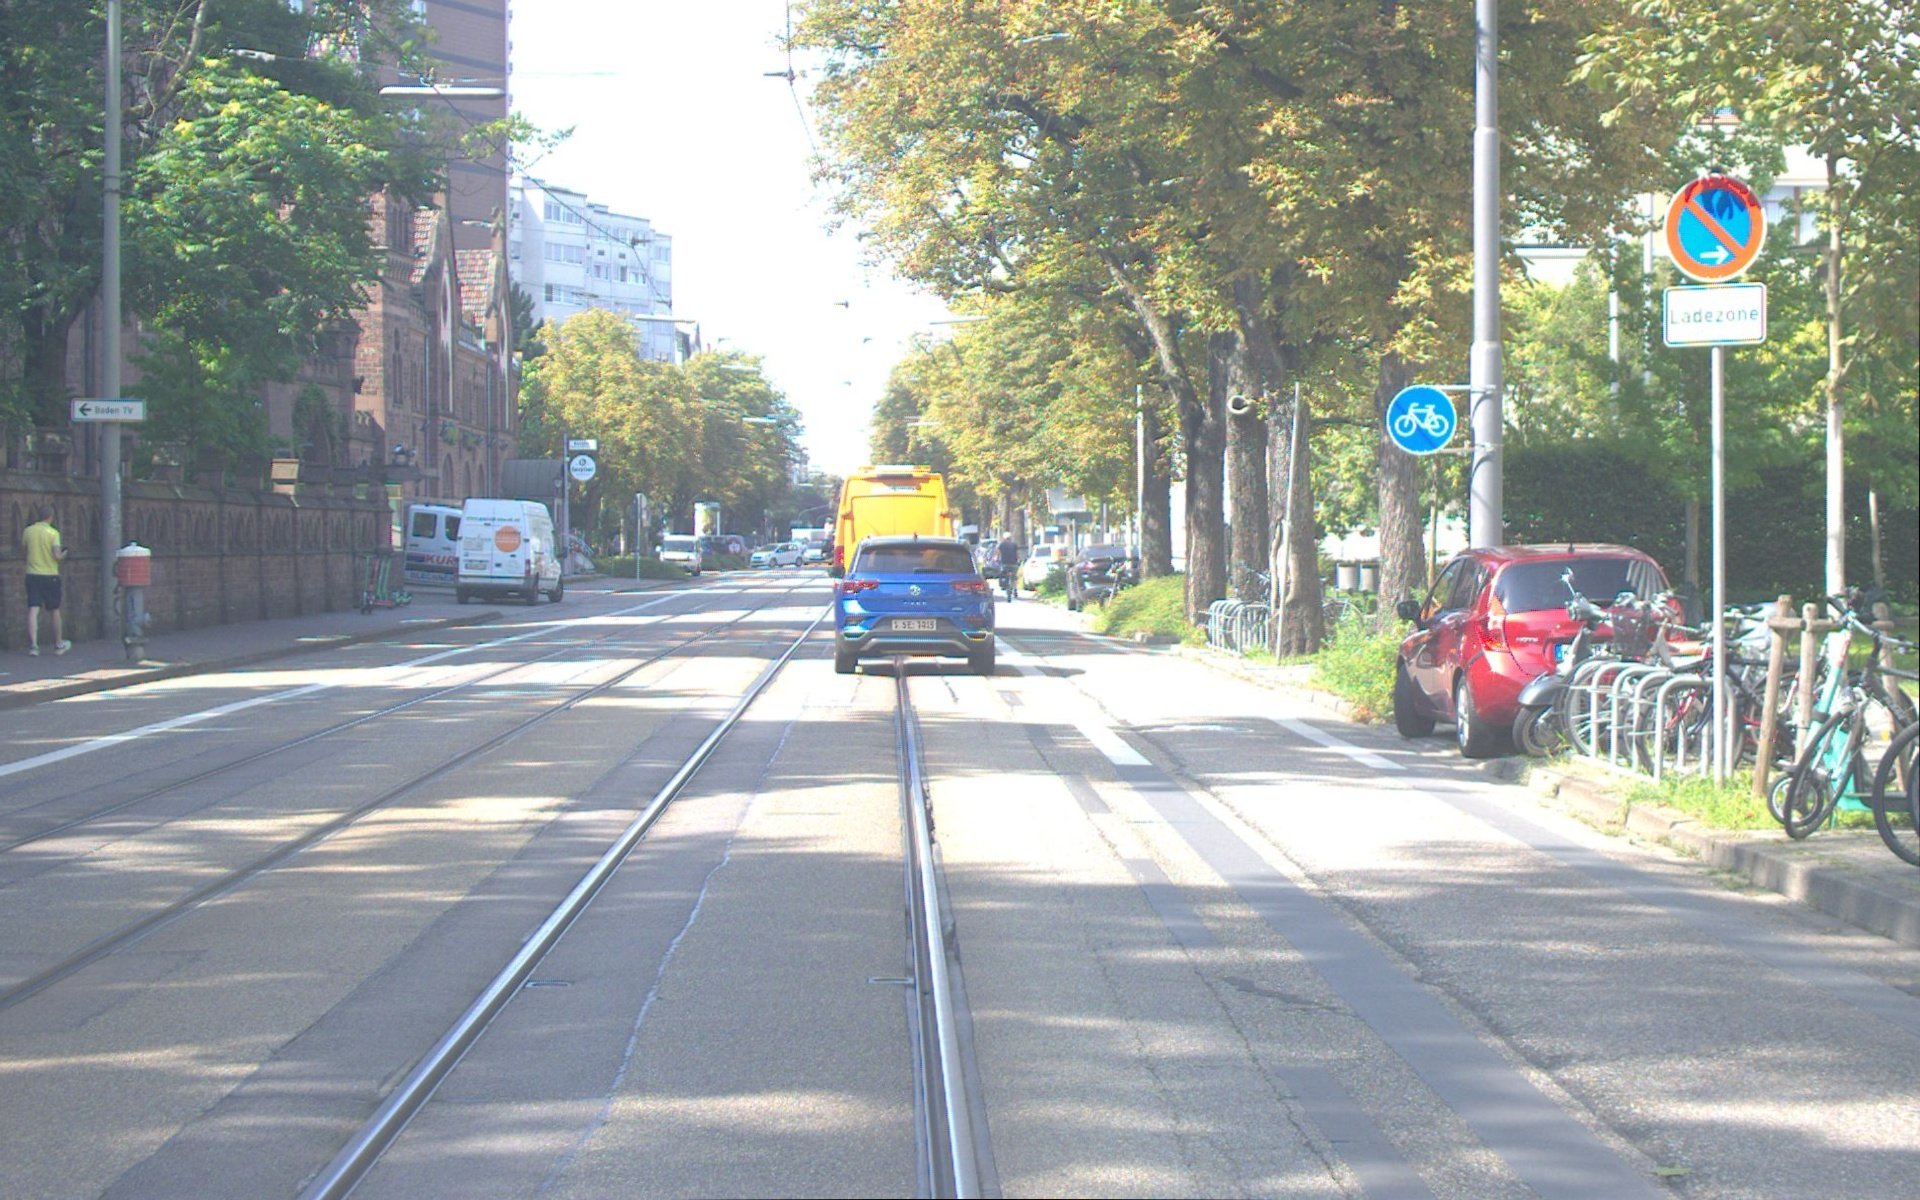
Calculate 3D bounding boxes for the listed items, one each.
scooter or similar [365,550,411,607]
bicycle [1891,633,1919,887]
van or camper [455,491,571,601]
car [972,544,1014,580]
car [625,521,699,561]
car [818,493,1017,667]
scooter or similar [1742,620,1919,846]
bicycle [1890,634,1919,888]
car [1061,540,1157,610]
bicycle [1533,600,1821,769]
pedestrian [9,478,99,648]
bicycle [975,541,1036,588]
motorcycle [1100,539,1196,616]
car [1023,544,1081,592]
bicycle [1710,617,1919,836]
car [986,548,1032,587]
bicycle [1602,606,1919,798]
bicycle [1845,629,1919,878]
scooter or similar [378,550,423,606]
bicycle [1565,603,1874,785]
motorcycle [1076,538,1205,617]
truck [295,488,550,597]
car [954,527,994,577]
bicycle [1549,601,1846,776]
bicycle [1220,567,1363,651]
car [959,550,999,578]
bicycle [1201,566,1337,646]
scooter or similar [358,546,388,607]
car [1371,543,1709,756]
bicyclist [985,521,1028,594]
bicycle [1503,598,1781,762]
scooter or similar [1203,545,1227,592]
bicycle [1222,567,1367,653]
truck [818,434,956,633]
[{"bbox_3d":[-11.850,-0.442,71.269,0.340,1.174,1.176,1,1,24],"label":"scooter or similar"},{"bbox_3d":[4.958,0.673,14.743,1.771,1.068,0.541,-1,1,-2],"label":"bicycle"},{"bbox_3d":[-11.277,-1.369,87.134,2.113,2.666,5.955,0,1,0],"label":"van or camper"},{"bbox_3d":[1.543,-1.792,162.017,1.740,1.662,4.362,0,1,-2],"label":"car"},{"bbox_3d":[-13.560,-2.693,156.156,1.747,1.790,4.000,0,1,-32],"label":"car"},{"bbox_3d":[-0.504,-0.254,39.963,2.135,1.852,5.568,-1,1,-1],"label":"car"},{"bbox_3d":[4.812,0.639,16.952,1.771,1.068,0.541,-1,1,-2],"label":"scooter or similar"},{"bbox_3d":[4.948,0.673,14.721,1.771,1.068,0.541,-1,1,-2],"label":"bicycle"},{"bbox_3d":[3.345,-0.572,78.027,1.755,1.510,4.610,-1,1,-2],"label":"car"},{"bbox_3d":[4.728,0.551,22.710,1.771,1.068,0.541,-1,1,-2],"label":"bicycle"},{"bbox_3d":[-10.879,-0.447,41.309,0.864,2.007,0.983,0,1,-3],"label":"pedestrian"},{"bbox_3d":[1.124,-0.897,86.198,1.401,1.130,4.000,0,1,-1],"label":"bicycle"},{"bbox_3d":[3.762,-0.469,69.066,0.850,1.510,2.456,0,1,-26],"label":"motorcycle"},{"bbox_3d":[2.896,-1.022,108.905,1.659,1.476,4.217,-1,1,-1],"label":"car"},{"bbox_3d":[4.780,0.629,17.540,1.771,1.068,0.541,-1,1,-2],"label":"bicycle"},{"bbox_3d":[1.961,-1.322,138.829,1.743,1.550,4.217,-1,1,-1],"label":"car"},{"bbox_3d":[4.703,0.590,20.121,1.771,1.068,0.541,-1,1,-2],"label":"bicycle"},{"bbox_3d":[4.904,0.664,15.321,1.771,1.068,0.541,-1,1,-2],"label":"bicycle"},{"bbox_3d":[-11.969,-0.478,73.574,0.340,1.174,1.176,1,1,24],"label":"scooter or similar"},{"bbox_3d":[4.680,0.573,21.223,1.771,1.068,0.541,-1,1,-2],"label":"bicycle"},{"bbox_3d":[3.530,-0.446,67.362,2.452,1.510,0.851,1,1,37],"label":"motorcycle"},{"bbox_3d":[-14.354,-1.555,91.944,6.321,2.529,2.131,3,2,4],"label":"truck"},{"bbox_3d":[0.791,-2.680,193.118,1.993,2.746,5.762,0,1,-2],"label":"car"},{"bbox_3d":[4.714,0.561,22.035,1.771,1.068,0.541,-1,1,-2],"label":"bicycle"},{"bbox_3d":[4.279,0.113,44.421,1.771,1.046,0.541,-1,1,-2],"label":"bicycle"},{"bbox_3d":[1.006,-1.925,182.535,1.908,1.427,4.293,0,1,-2],"label":"car"},{"bbox_3d":[4.209,0.075,46.900,1.771,1.046,0.541,-1,1,-2],"label":"bicycle"},{"bbox_3d":[-11.432,-0.465,66.971,0.420,1.174,1.317,0,1,-17],"label":"scooter or similar"},{"bbox_3d":[4.313,0.311,26.171,1.755,1.457,4.275,-1,1,-1],"label":"car"},{"bbox_3d":[1.161,-1.067,86.206,1.031,1.806,1.016,0,1,-1],"label":"bicyclist"},{"bbox_3d":[4.650,0.539,23.483,1.771,1.068,0.541,-1,1,-2],"label":"bicycle"},{"bbox_3d":[6.958,-0.861,93.876,0.556,1.255,1.818,0,1,1],"label":"scooter or similar"},{"bbox_3d":[4.248,0.123,43.743,1.771,1.046,0.541,-1,1,-2],"label":"bicycle"},{"bbox_3d":[-1.204,-1.096,57.435,2.135,3.113,6.085,-1,1,-1],"label":"truck"}]
